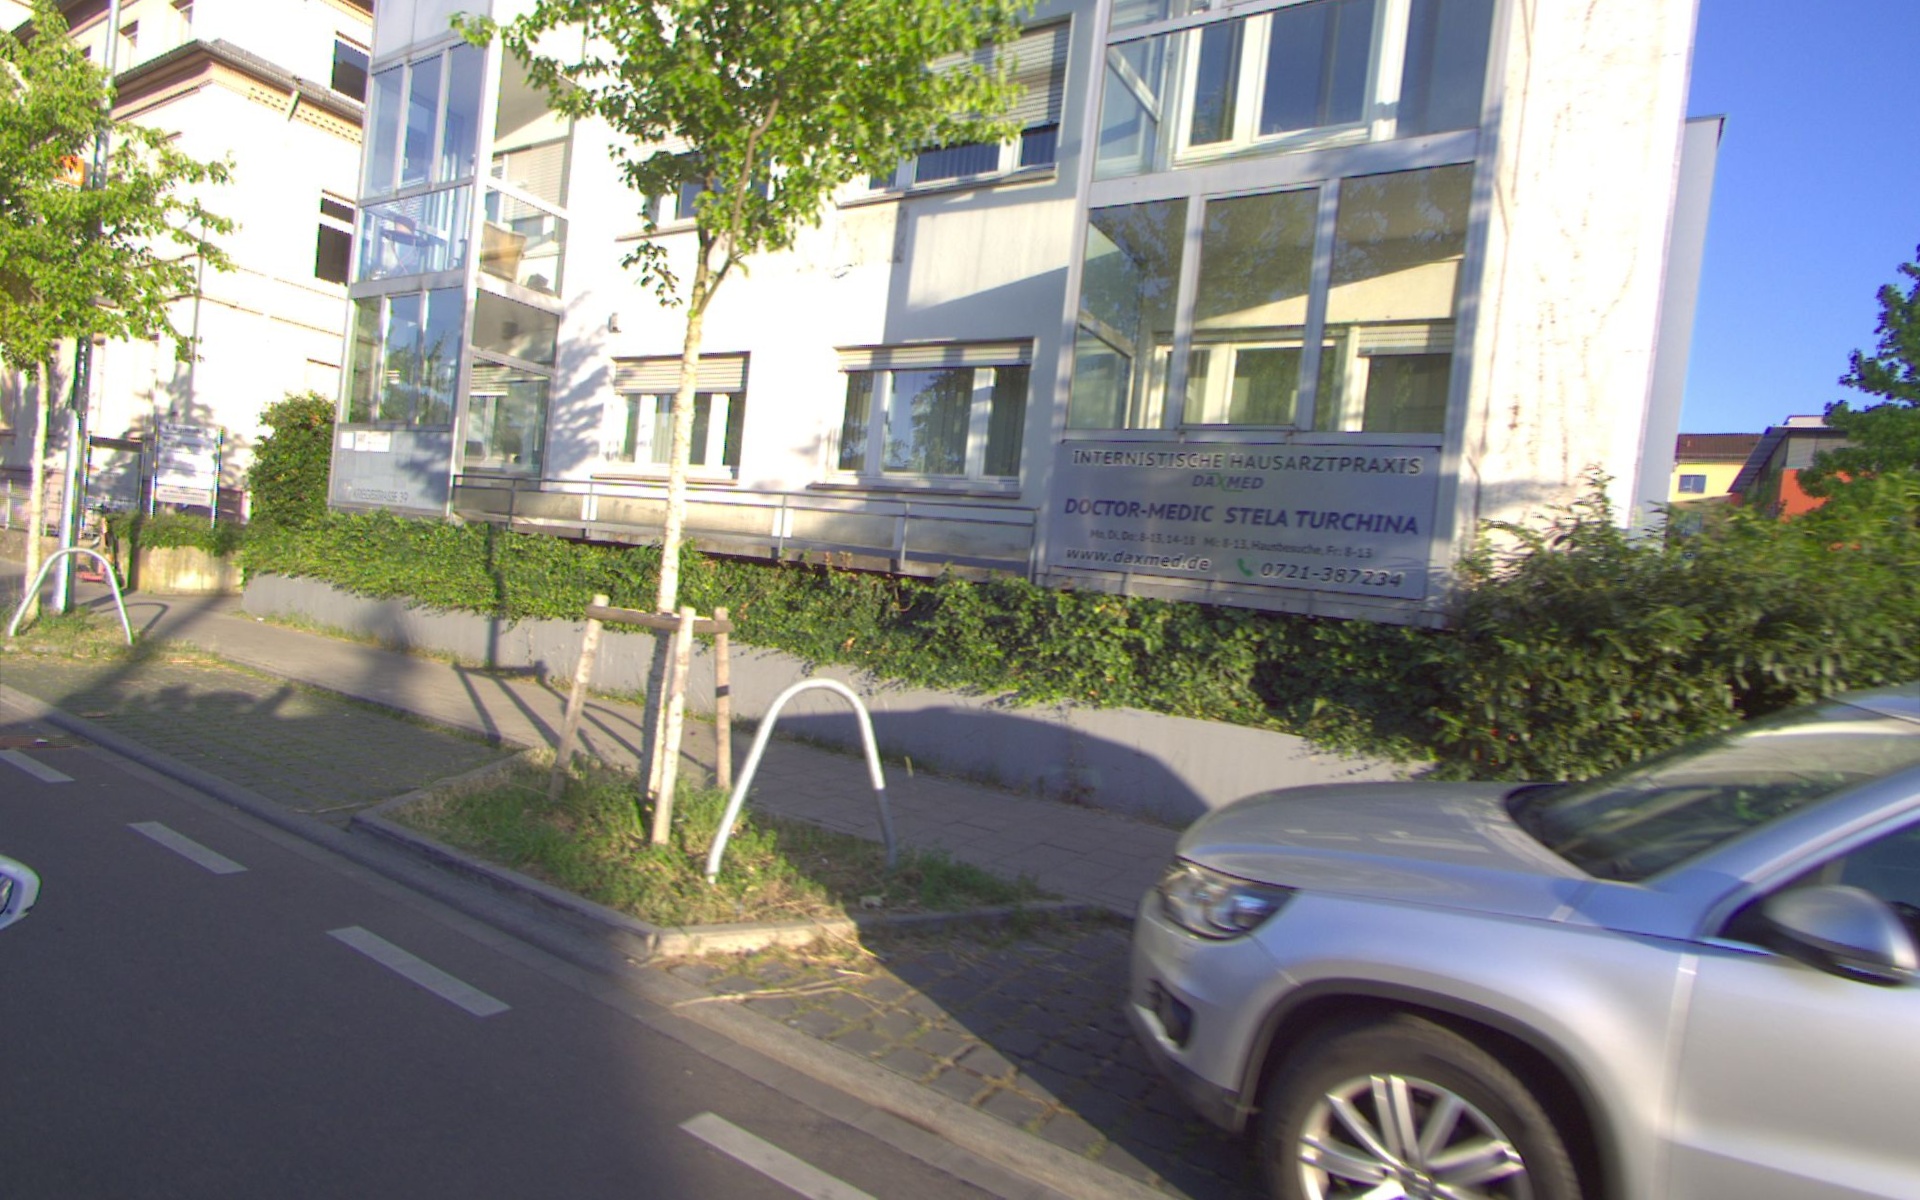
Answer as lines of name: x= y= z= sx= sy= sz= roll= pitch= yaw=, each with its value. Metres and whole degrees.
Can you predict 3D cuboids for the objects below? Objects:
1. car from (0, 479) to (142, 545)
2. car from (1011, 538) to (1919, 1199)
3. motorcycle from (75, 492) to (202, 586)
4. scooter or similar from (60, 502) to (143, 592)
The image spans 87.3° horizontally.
car: x=-26.106 y=-2.535 z=28.514 sx=1.886 sy=1.593 sz=4.190 roll=7 pitch=4 yaw=34
car: x=2.483 y=0.963 z=2.509 sx=4.182 sy=1.728 sz=1.857 roll=7 pitch=1 yaw=30
motorcycle: x=-14.079 y=-1.021 z=17.276 sx=0.615 sy=1.432 sz=1.497 roll=8 pitch=3 yaw=28
scooter or similar: x=-13.403 y=-0.828 z=15.707 sx=1.187 sy=1.273 sz=0.491 roll=6 pitch=0 yaw=28
